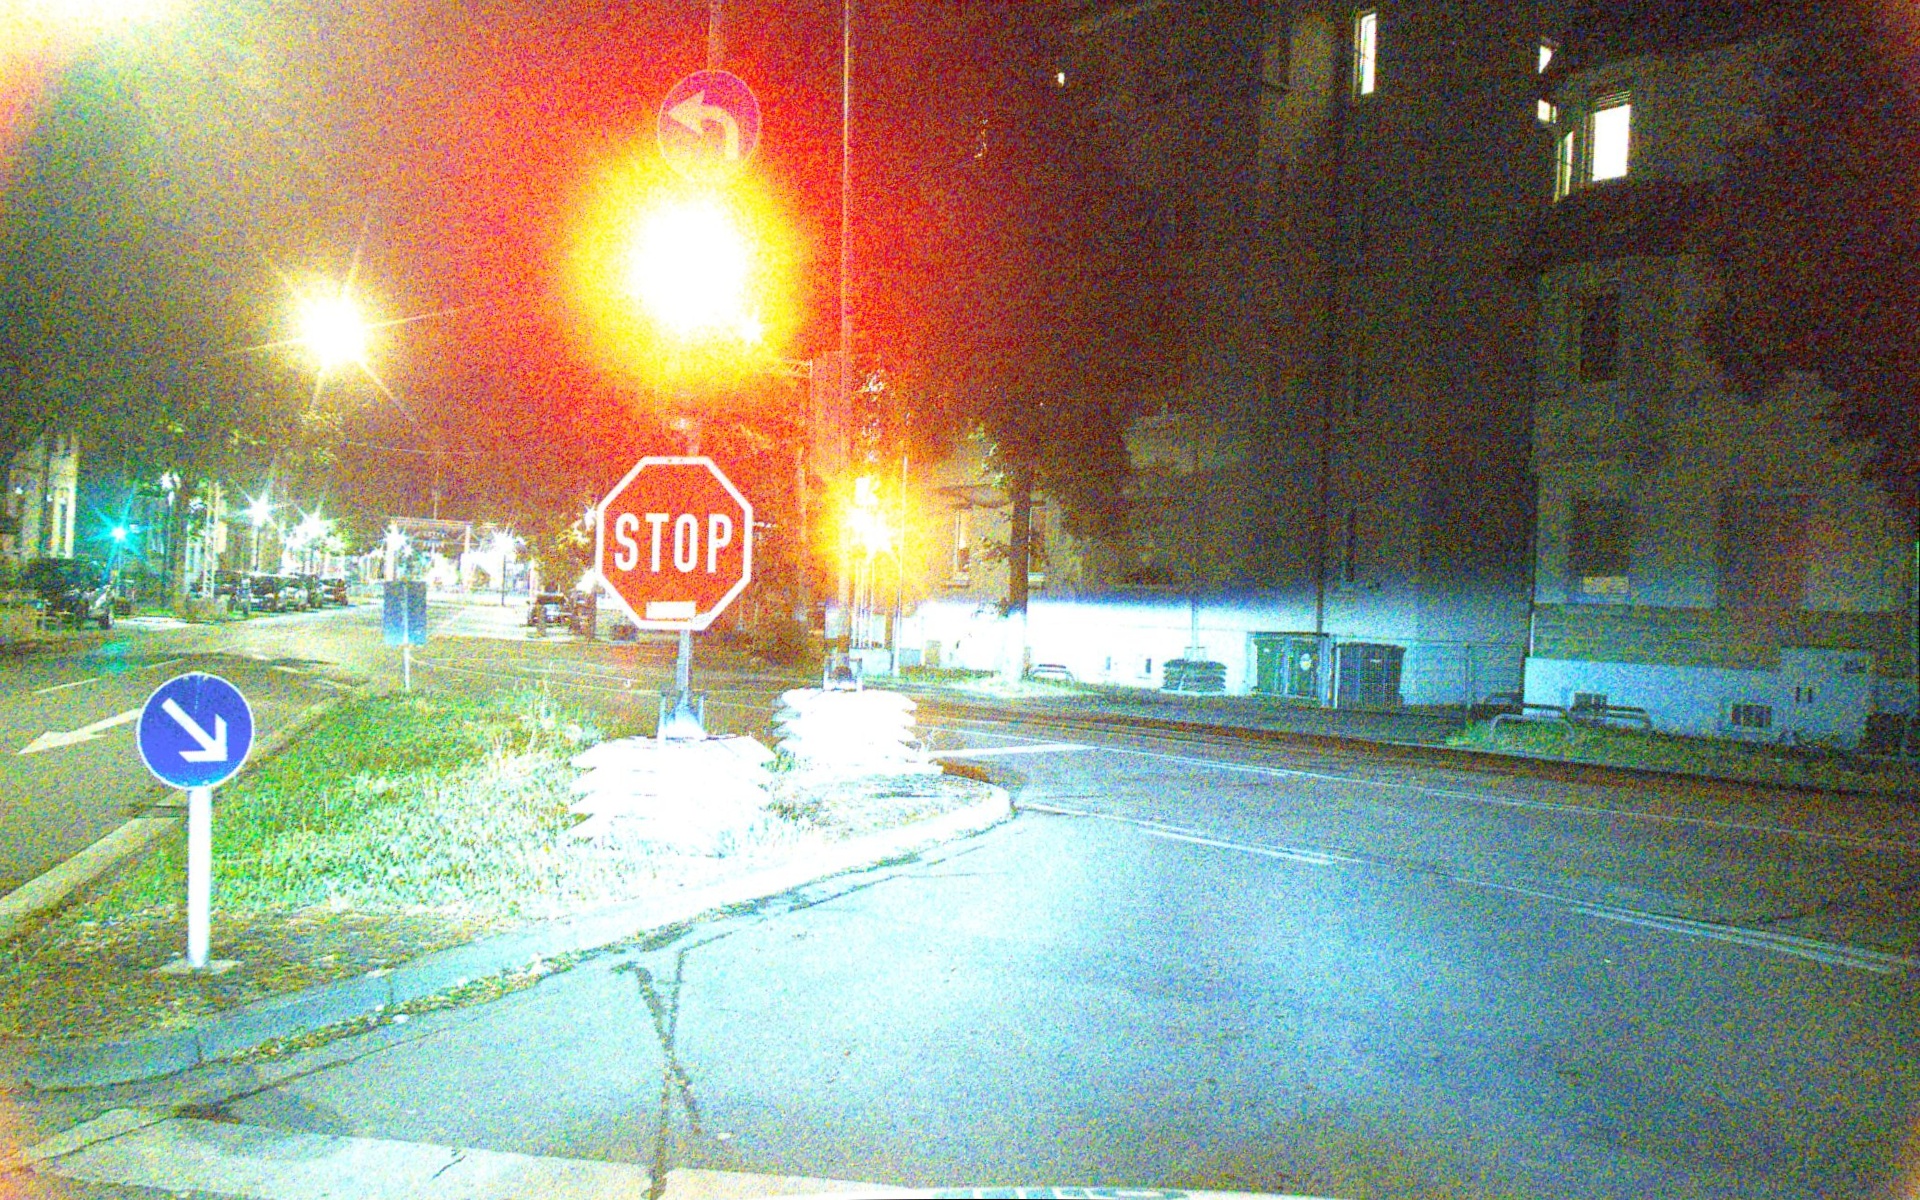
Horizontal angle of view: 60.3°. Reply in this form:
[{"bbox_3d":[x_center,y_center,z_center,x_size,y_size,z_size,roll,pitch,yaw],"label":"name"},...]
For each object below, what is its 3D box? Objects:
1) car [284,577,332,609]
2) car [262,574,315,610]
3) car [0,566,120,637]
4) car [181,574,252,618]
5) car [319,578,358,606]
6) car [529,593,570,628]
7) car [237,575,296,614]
[{"bbox_3d":[-30.915,-0.339,78.511,1.624,1.456,3.983,2,0,-16],"label":"car"},{"bbox_3d":[-29.233,-0.340,72.084,1.624,1.456,3.983,2,0,-16],"label":"car"},{"bbox_3d":[-20.184,0.025,37.060,1.624,1.456,3.983,2,0,-16],"label":"car"},{"bbox_3d":[-26.059,-0.147,58.049,1.624,1.456,3.983,2,0,-16],"label":"car"},{"bbox_3d":[-34.446,-0.465,91.728,1.624,1.456,3.983,2,0,-16],"label":"car"},{"bbox_3d":[-17.787,0.436,71.607,1.623,1.456,3.985,2,0,-14],"label":"car"},{"bbox_3d":[-27.672,-0.204,66.080,1.624,1.456,3.983,2,0,-16],"label":"car"}]
